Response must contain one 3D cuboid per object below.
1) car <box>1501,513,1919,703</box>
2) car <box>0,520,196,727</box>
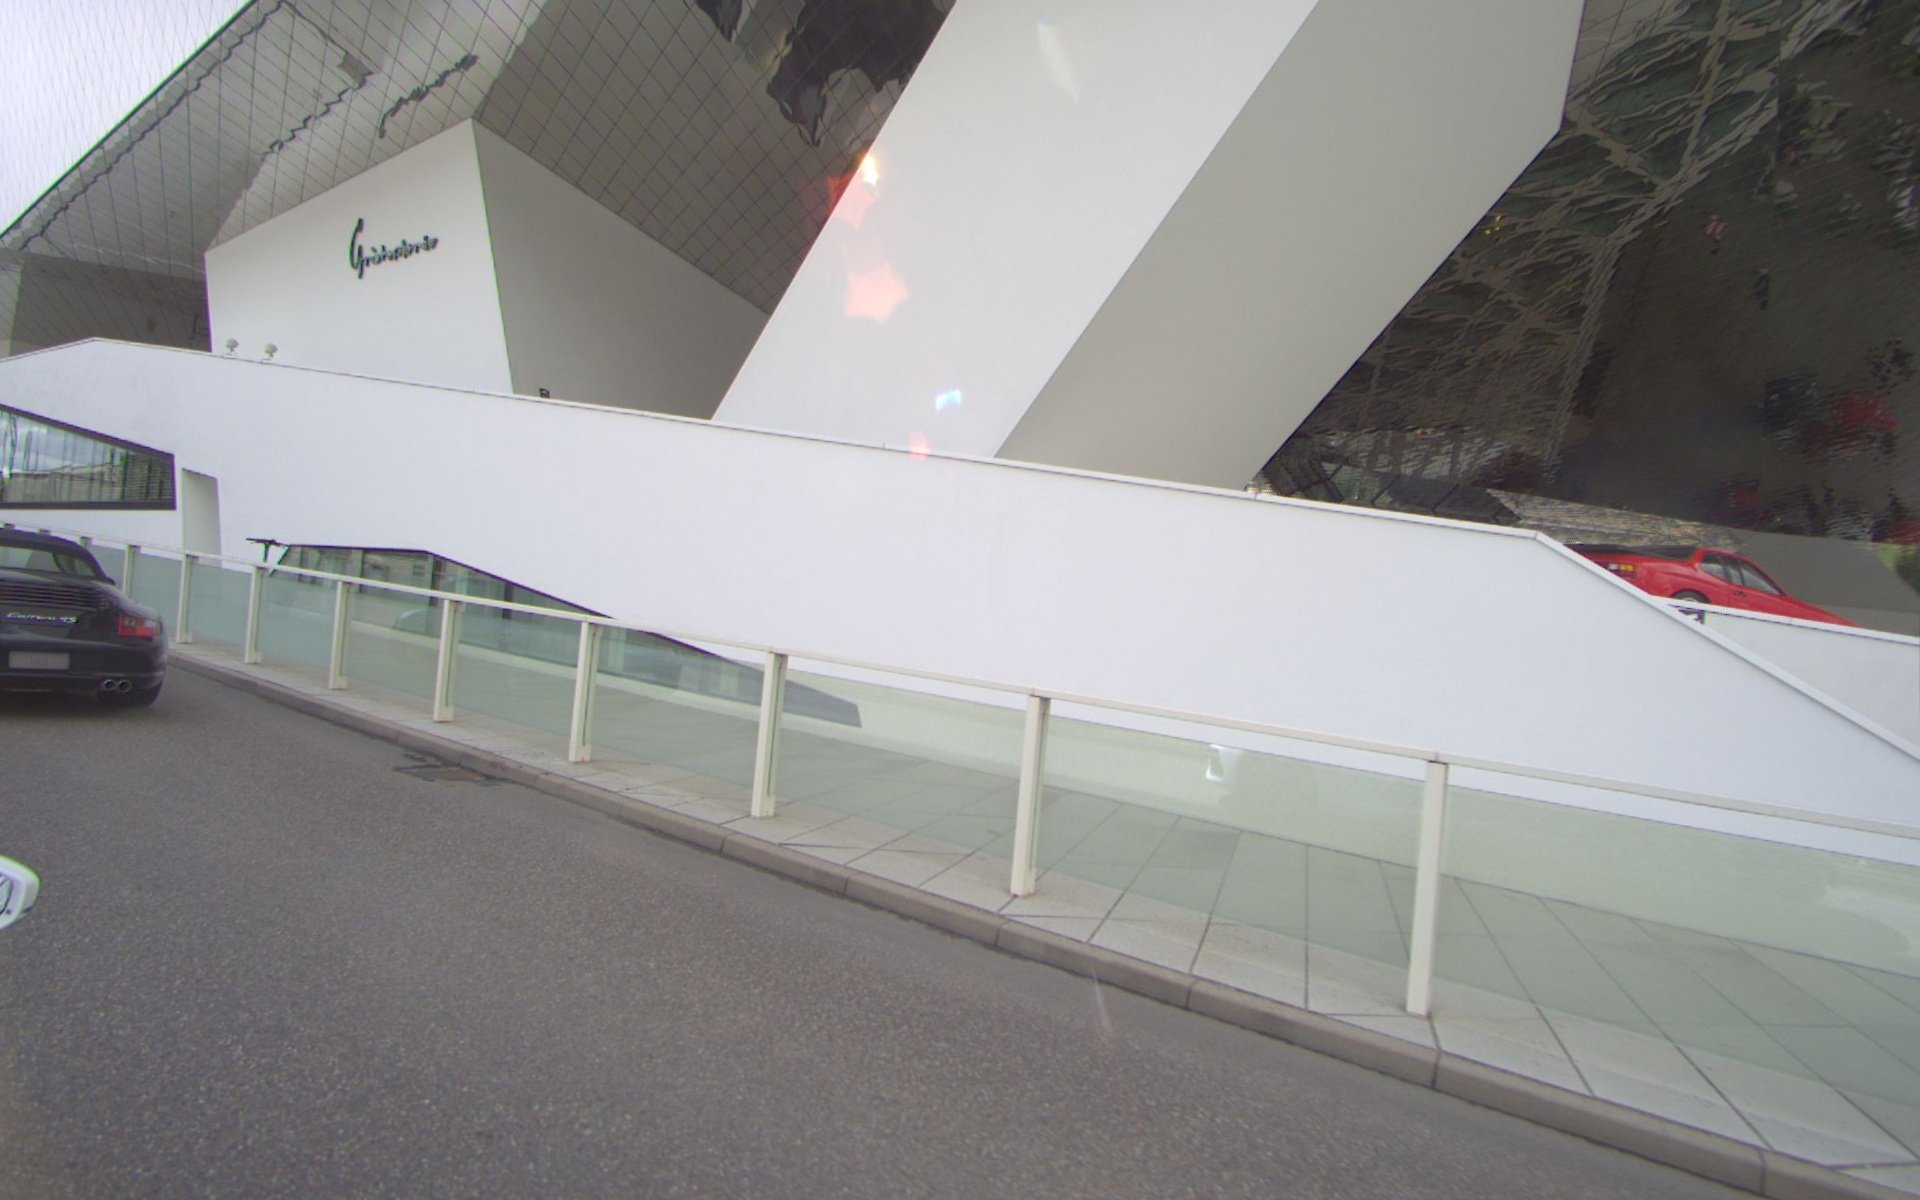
[{"bbox_3d":[10.011,0.104,13.456,4.442,1.411,1.996,13,0,-9],"label":"car"},{"bbox_3d":[-7.941,0.040,8.119,3.941,1.341,1.833,6,-1,39],"label":"car"}]
